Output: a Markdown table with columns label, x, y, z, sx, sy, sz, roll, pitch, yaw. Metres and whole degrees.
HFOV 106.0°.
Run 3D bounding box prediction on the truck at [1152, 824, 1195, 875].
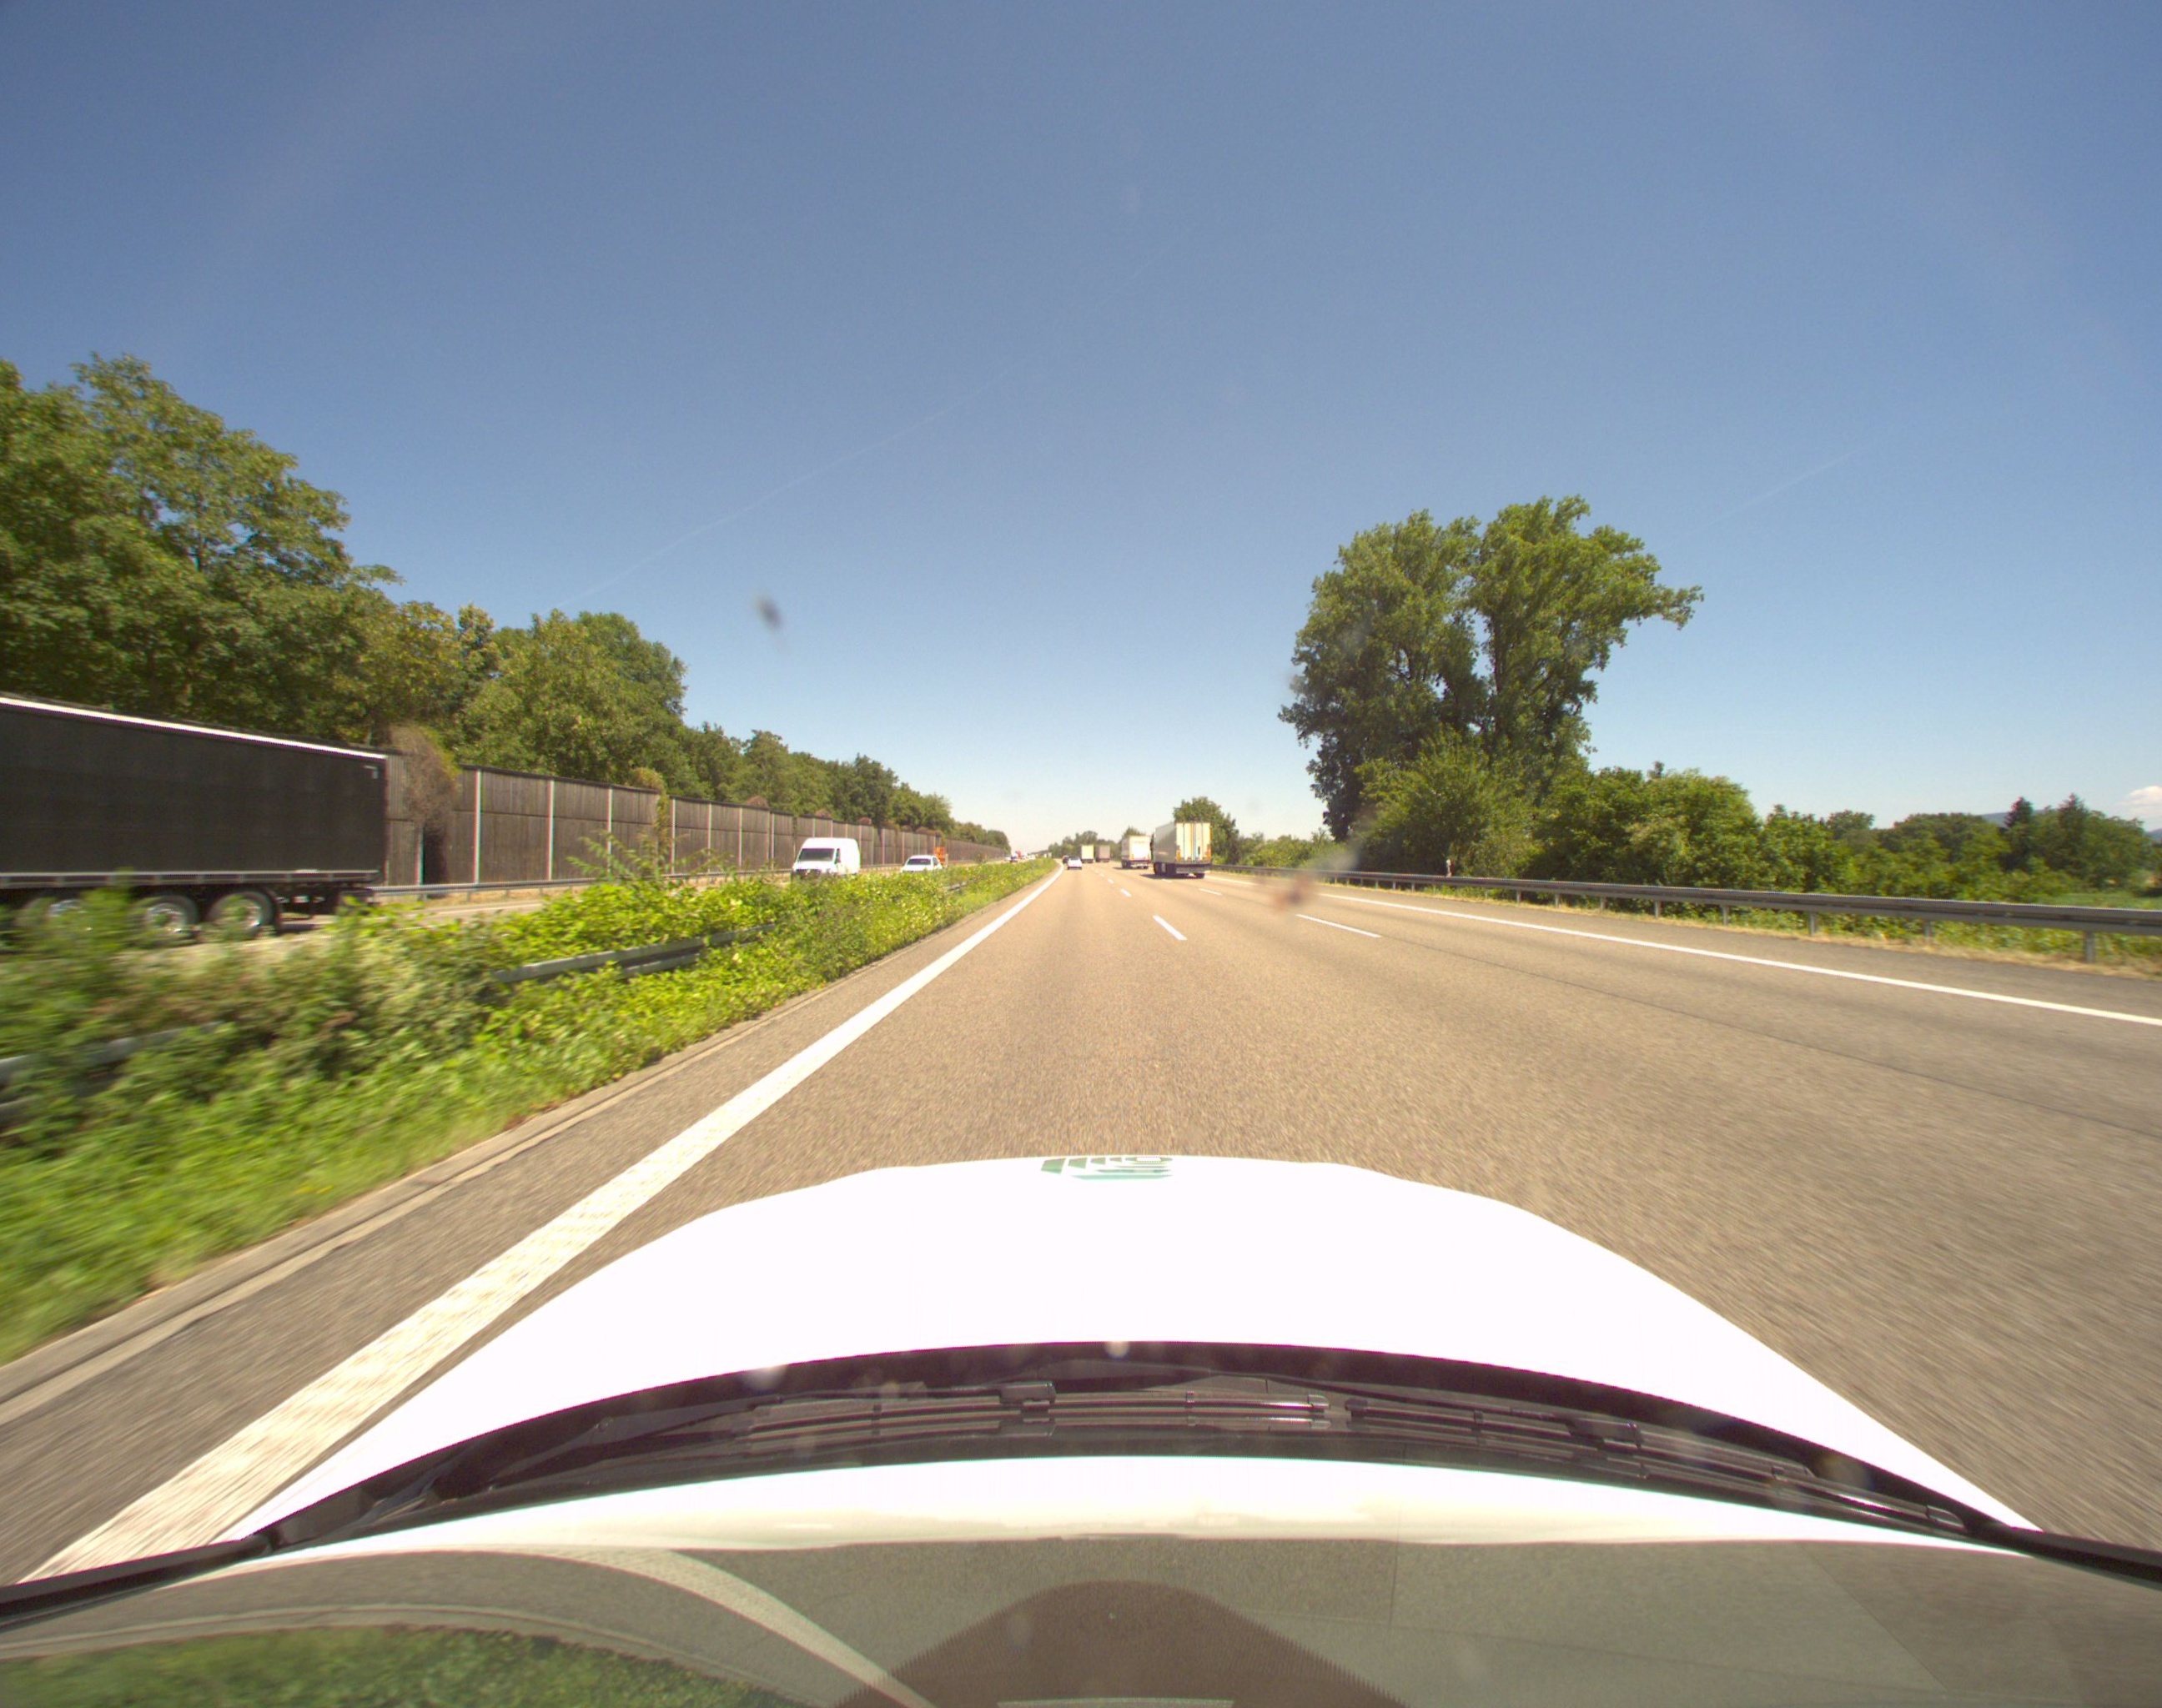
| label | x | y | z | sx | sy | sz | roll | pitch | yaw |
| --- | --- | --- | --- | --- | --- | --- | --- | --- | --- |
| truck | 7.776 | -0.335 | 69.129 | 2.950 | 4.106 | 6.205 | 0 | 0 | 0 |

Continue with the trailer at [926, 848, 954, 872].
| label | x | y | z | sx | sy | sz | roll | pitch | yaw |
| --- | --- | --- | --- | --- | --- | --- | --- | --- | --- |
| trailer | -17.284 | 0.726 | 100.326 | 2.235 | 2.776 | 6.508 | 0 | 0 | 0 |

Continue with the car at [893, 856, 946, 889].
| label | x | y | z | sx | sy | sz | roll | pitch | yaw |
| --- | --- | --- | --- | --- | --- | --- | --- | --- | --- |
| car | -9.190 | 1.001 | 46.681 | 1.989 | 1.720 | 5.023 | 1 | 0 | 0 |

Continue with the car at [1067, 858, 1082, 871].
| label | x | y | z | sx | sy | sz | roll | pitch | yaw |
| --- | --- | --- | --- | --- | --- | --- | --- | --- | --- |
| car | -0.781 | 1.300 | 102.038 | 1.850 | 1.486 | 3.998 | 0 | 0 | -1 |

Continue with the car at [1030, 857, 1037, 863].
| label | x | y | z | sx | sy | sz | roll | pitch | yaw |
| --- | --- | --- | --- | --- | --- | --- | --- | --- | --- |
| car | -13.981 | 1.770 | 238.525 | 1.988 | 1.647 | 5.041 | 0 | 0 | -2 |

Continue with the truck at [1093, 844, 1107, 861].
| label | x | y | z | sx | sy | sz | roll | pitch | yaw |
| --- | --- | --- | --- | --- | --- | --- | --- | --- | --- |
| truck | 4.673 | -0.279 | 203.469 | 2.687 | 4.216 | 7.823 | 1 | -1 | -5 |

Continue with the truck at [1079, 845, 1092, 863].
| label | x | y | z | sx | sy | sz | roll | pitch | yaw |
| --- | --- | --- | --- | --- | --- | --- | --- | --- | --- |
| truck | 1.033 | 0.079 | 187.176 | 2.719 | 4.086 | 7.274 | 1 | -1 | -1 |

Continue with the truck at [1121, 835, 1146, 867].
| label | x | y | z | sx | sy | sz | roll | pitch | yaw |
| --- | --- | --- | --- | --- | --- | --- | --- | --- | --- |
| truck | 6.982 | -0.370 | 109.662 | 2.700 | 4.088 | 6.959 | 0 | -1 | -2 |

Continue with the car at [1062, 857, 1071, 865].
| label | x | y | z | sx | sy | sz | roll | pitch | yaw |
| --- | --- | --- | --- | --- | --- | --- | --- | --- | --- |
| car | -2.914 | 1.393 | 168.226 | 1.850 | 1.617 | 3.998 | 0 | -1 | -1 |

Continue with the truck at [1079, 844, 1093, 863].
| label | x | y | z | sx | sy | sz | roll | pitch | yaw |
| --- | --- | --- | --- | --- | --- | --- | --- | --- | --- |
| truck | 1.156 | 0.010 | 181.785 | 2.699 | 4.086 | 13.465 | 1 | -1 | -1 |

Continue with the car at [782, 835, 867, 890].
| label | x | y | z | sx | sy | sz | roll | pitch | yaw |
| --- | --- | --- | --- | --- | --- | --- | --- | --- | --- |
| car | -12.964 | 0.426 | 41.733 | 2.158 | 2.540 | 6.788 | 1 | 0 | 0 |

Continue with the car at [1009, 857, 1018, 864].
| label | x | y | z | sx | sy | sz | roll | pitch | yaw |
| --- | --- | --- | --- | --- | --- | --- | --- | --- | --- |
| car | -16.092 | 1.621 | 194.166 | 1.991 | 1.647 | 4.683 | 0 | 0 | -6 |

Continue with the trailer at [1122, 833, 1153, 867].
| label | x | y | z | sx | sy | sz | roll | pitch | yaw |
| --- | --- | --- | --- | --- | --- | --- | --- | --- | --- |
| trailer | 7.097 | -0.431 | 104.062 | 2.700 | 4.088 | 14.141 | 0 | -1 | -1 |

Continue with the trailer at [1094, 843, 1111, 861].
| label | x | y | z | sx | sy | sz | roll | pitch | yaw |
| --- | --- | --- | --- | --- | --- | --- | --- | --- | --- |
| trailer | 5.204 | -0.338 | 197.499 | 2.699 | 4.216 | 13.186 | 1 | -1 | -5 |

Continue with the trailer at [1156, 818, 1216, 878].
| label | x | y | z | sx | sy | sz | roll | pitch | yaw |
| --- | --- | --- | --- | --- | --- | --- | --- | --- | --- |
| trailer | 7.726 | -0.371 | 61.678 | 2.950 | 4.106 | 12.530 | 0 | 0 | 0 |

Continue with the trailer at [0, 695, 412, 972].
| label | x | y | z | sx | sy | sz | roll | pitch | yaw |
| --- | --- | --- | --- | --- | --- | --- | --- | --- | --- |
| trailer | -17.427 | -0.288 | 12.649 | 2.889 | 4.092 | 13.332 | 0 | -1 | 1 |

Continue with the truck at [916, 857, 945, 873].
| label | x | y | z | sx | sy | sz | roll | pitch | yaw |
| --- | --- | --- | --- | --- | --- | --- | --- | --- | --- |
| truck | -17.310 | 1.228 | 93.967 | 2.094 | 1.816 | 6.210 | 0 | 0 | 0 |
